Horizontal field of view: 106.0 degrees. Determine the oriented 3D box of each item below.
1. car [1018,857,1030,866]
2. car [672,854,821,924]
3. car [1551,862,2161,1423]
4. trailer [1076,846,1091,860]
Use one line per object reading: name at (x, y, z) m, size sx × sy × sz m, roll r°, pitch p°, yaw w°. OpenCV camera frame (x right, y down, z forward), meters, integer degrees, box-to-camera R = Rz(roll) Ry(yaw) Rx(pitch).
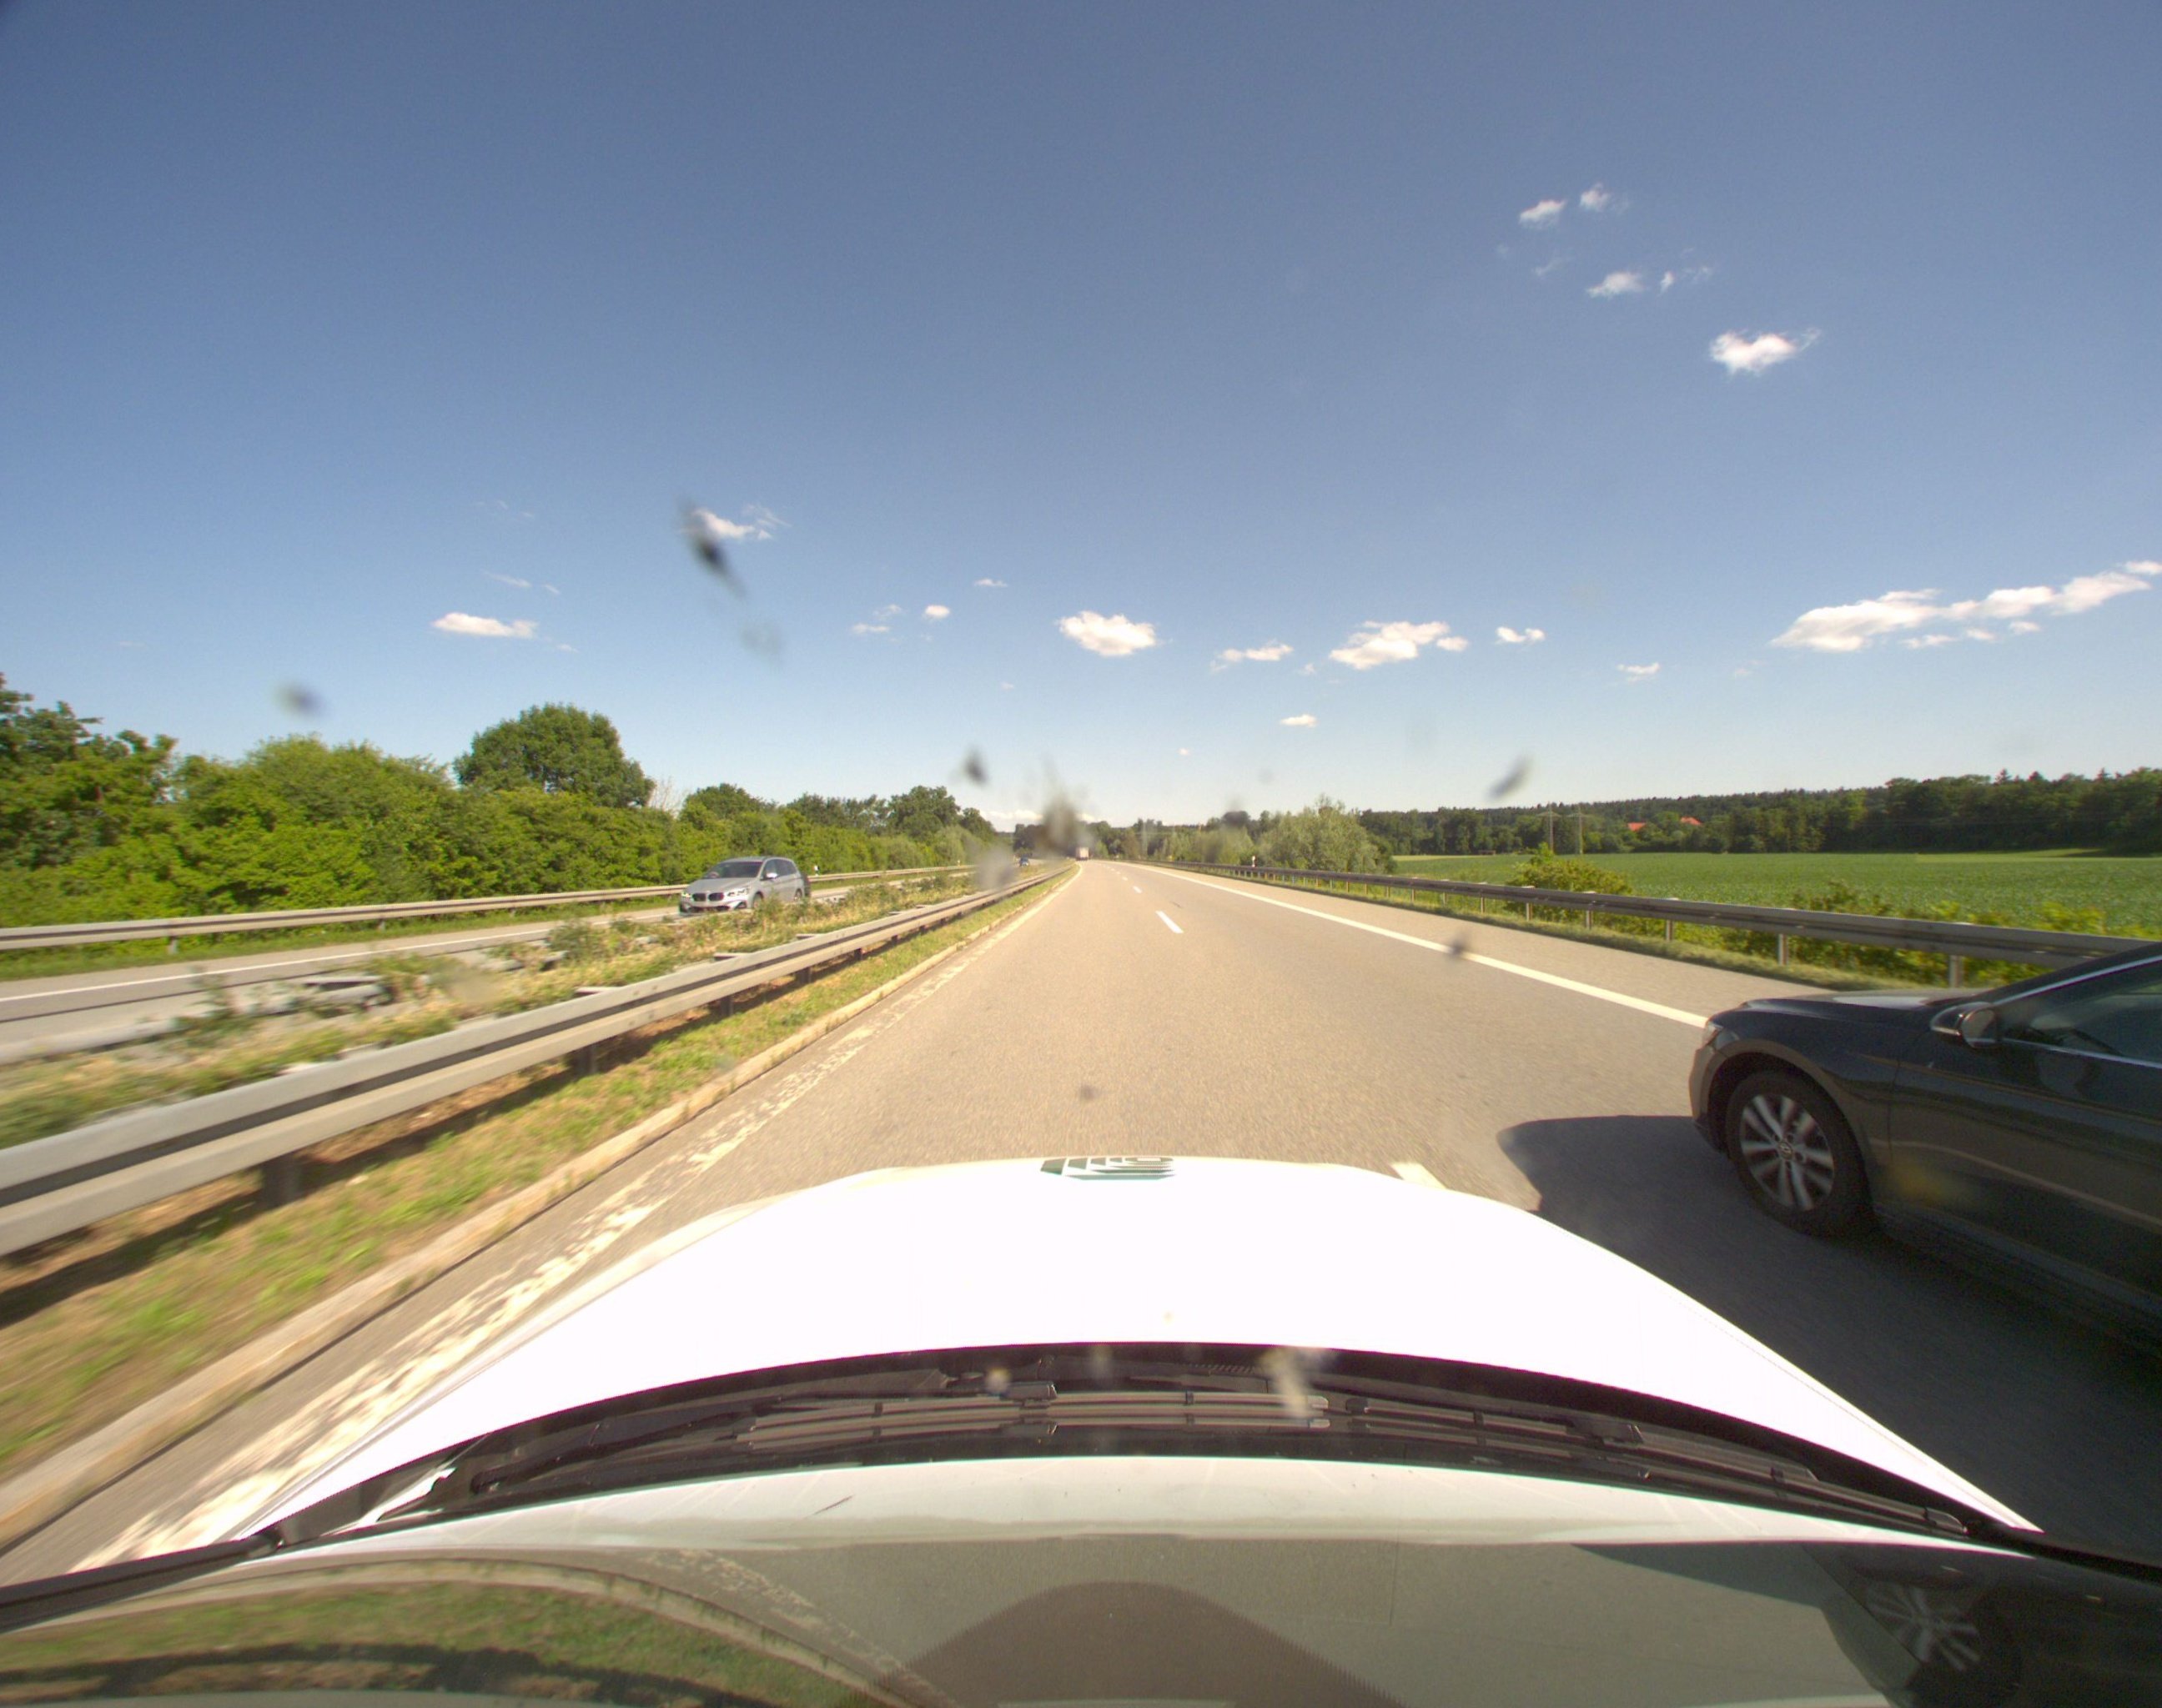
car at (-9.514, 1.274, 136.805) m, size 1.671 × 1.441 × 3.999 m, roll -3°, pitch 0°, yaw 0°
car at (-8.695, 0.820, 21.718) m, size 1.904 × 1.588 × 4.915 m, roll -2°, pitch 0°, yaw -1°
car at (3.601, 0.756, 2.619) m, size 1.712 × 1.400 × 4.415 m, roll 2°, pitch 0°, yaw 1°
trailer at (0.667, -0.279, 249.154) m, size 2.882 × 4.066 × 12.389 m, roll -2°, pitch 0°, yaw -7°
